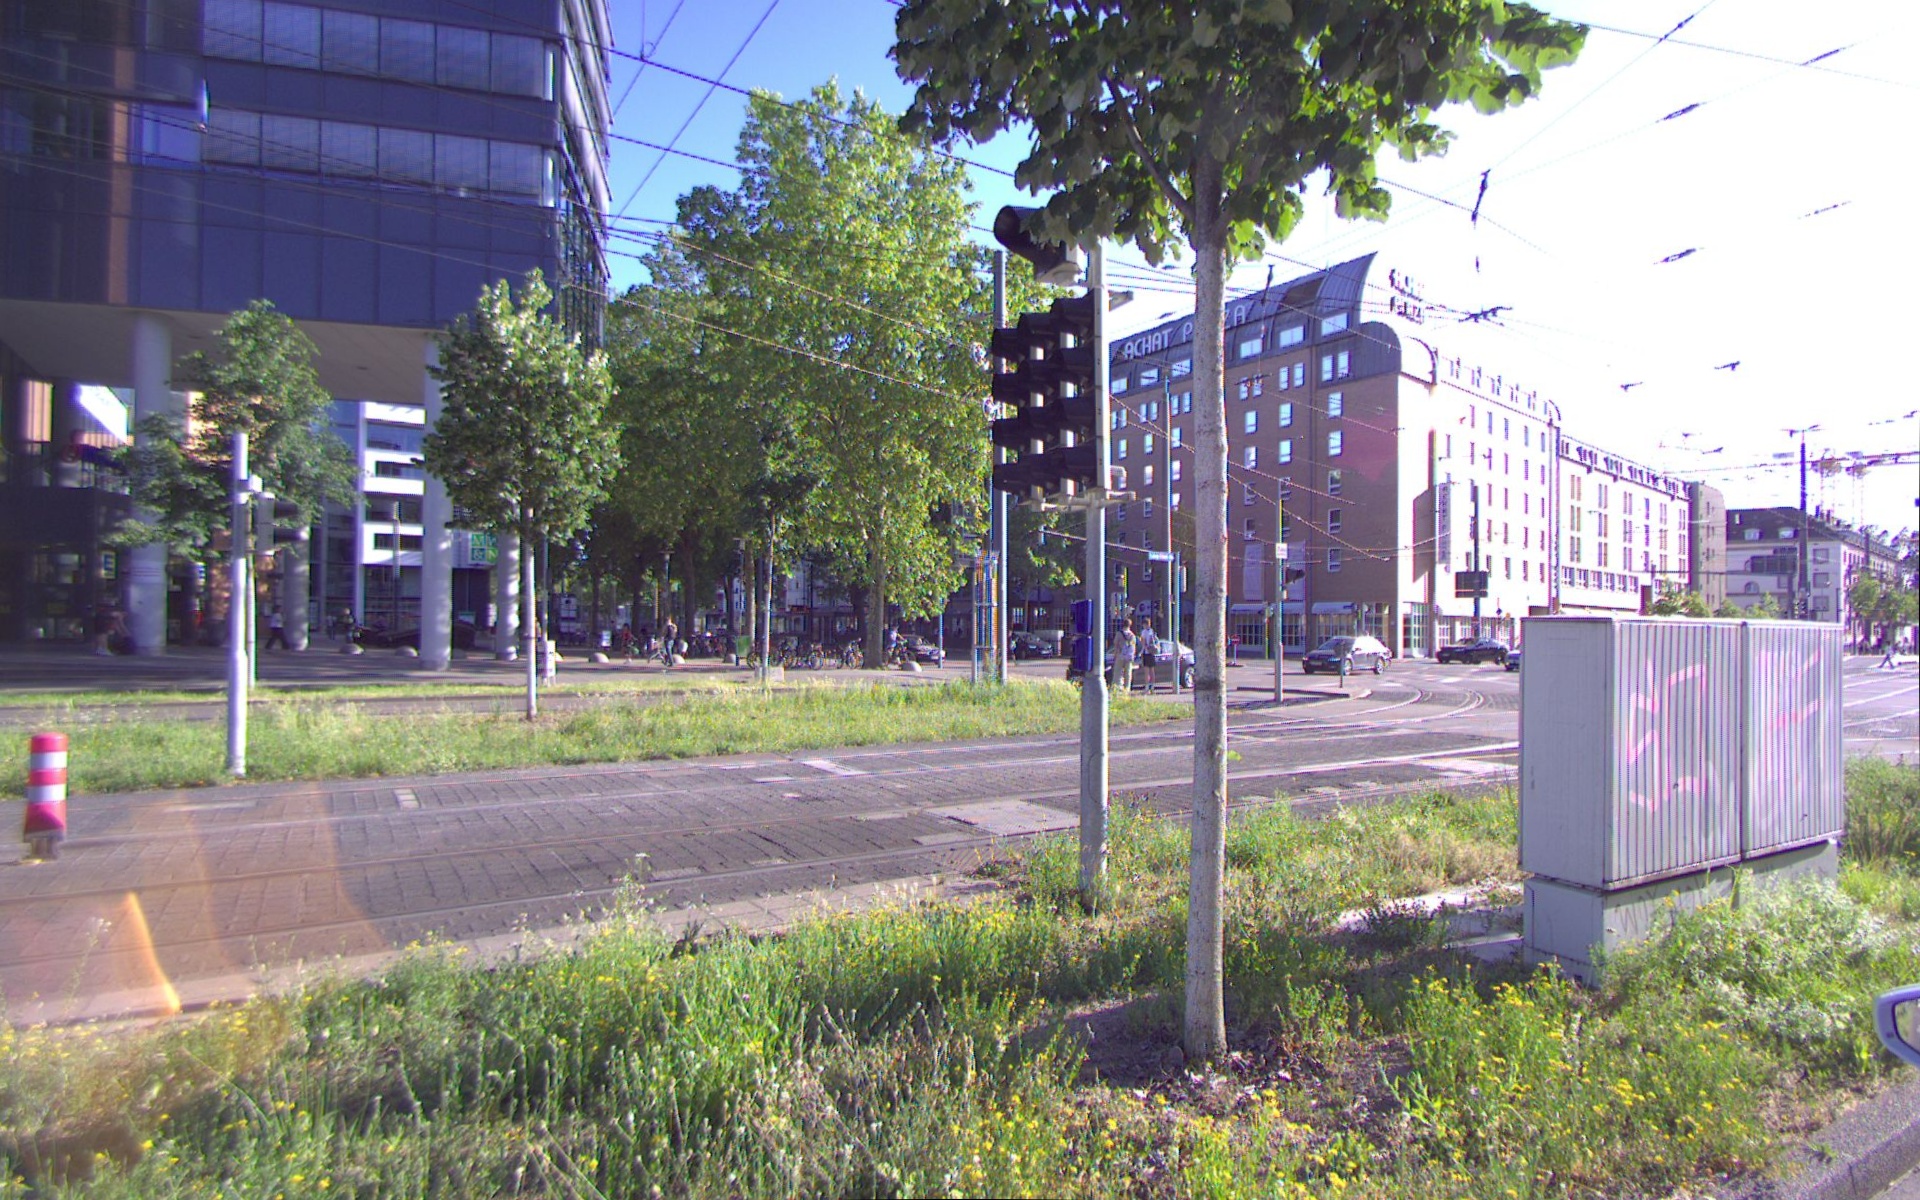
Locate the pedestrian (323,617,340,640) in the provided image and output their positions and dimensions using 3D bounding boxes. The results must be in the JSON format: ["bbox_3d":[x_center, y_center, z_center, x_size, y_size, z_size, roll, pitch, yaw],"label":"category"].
[{"bbox_3d":[-36.028,1.617,57.577,0.651,1.294,0.636,1,0,-13],"label":"pedestrian"}]

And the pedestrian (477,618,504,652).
[{"bbox_3d":[-24.406,1.834,52.185,1.091,1.730,0.789,1,0,-13],"label":"pedestrian"}]

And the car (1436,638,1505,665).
[{"bbox_3d":[31.235,3.158,61.437,3.947,1.570,1.749,1,-2,-26],"label":"car"}]

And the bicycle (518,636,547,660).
[{"bbox_3d":[-16.872,1.891,39.644,0.490,0.922,1.887,1,-1,-5],"label":"bicycle"}]

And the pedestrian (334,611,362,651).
[{"bbox_3d":[-27.155,1.362,44.568,0.794,1.730,0.789,1,0,-13],"label":"pedestrian"}]

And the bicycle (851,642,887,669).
[{"bbox_3d":[-3.468,2.105,38.055,0.536,0.964,1.753,2,-2,-36],"label":"bicycle"}]

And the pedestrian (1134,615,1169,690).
[{"bbox_3d":[4.788,1.308,25.108,0.656,1.841,0.559,1,-1,-36],"label":"pedestrian"}]

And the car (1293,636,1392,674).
[{"bbox_3d":[15.326,2.190,40.189,4.104,1.440,1.711,2,-4,-36],"label":"car"}]

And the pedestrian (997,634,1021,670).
[{"bbox_3d":[2.283,2.425,46.637,0.832,1.619,0.692,1,0,-33],"label":"pedestrian"}]

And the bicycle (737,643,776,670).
[{"bbox_3d":[-7.497,2.065,36.946,0.538,0.964,1.748,2,-2,-44],"label":"bicycle"}]

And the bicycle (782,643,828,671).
[{"bbox_3d":[-5.697,2.097,36.852,1.742,0.964,0.540,0,-1,34],"label":"bicycle"}]

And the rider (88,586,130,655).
[{"bbox_3d":[-23.096,0.565,27.283,0.704,1.826,0.715,1,-1,-29],"label":"rider"}]

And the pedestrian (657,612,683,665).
[{"bbox_3d":[-11.410,1.522,39.470,0.826,2.040,0.730,1,0,-25],"label":"pedestrian"}]

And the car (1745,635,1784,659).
[{"bbox_3d":[53.369,3.096,66.620,1.726,1.524,3.858,-1,-2,43],"label":"car"}]

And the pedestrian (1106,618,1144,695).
[{"bbox_3d":[4.043,1.376,24.580,0.656,1.854,0.627,1,-1,-36],"label":"pedestrian"}]

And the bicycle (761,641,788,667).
[{"bbox_3d":[-7.079,2.051,38.407,0.530,0.964,1.772,1,-1,7],"label":"bicycle"}]

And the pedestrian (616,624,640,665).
[{"bbox_3d":[-13.303,1.786,40.240,0.826,1.619,0.730,1,0,-25],"label":"pedestrian"}]

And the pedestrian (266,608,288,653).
[{"bbox_3d":[-23.232,1.028,34.177,0.566,1.500,0.450,1,0,-30],"label":"pedestrian"}]

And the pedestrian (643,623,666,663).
[{"bbox_3d":[-12.968,1.807,42.607,0.826,1.667,0.730,1,-1,-25],"label":"pedestrian"}]

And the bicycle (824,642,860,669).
[{"bbox_3d":[-4.455,2.078,37.879,0.536,0.964,1.753,2,-2,-36],"label":"bicycle"}]

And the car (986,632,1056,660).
[{"bbox_3d":[3.332,2.515,55.152,1.743,1.439,3.960,2,-2,-35],"label":"car"}]

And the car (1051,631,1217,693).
[{"bbox_3d":[4.990,1.703,28.544,4.692,1.617,1.980,2,-2,-36],"label":"car"}]

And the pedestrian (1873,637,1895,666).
[{"bbox_3d":[52.683,2.921,57.294,0.754,1.662,0.743,0,-1,30],"label":"pedestrian"}]

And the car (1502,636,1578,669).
[{"bbox_3d":[26.869,2.419,46.506,3.960,1.468,1.563,2,-2,-35],"label":"car"}]

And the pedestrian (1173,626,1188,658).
[{"bbox_3d":[14.086,2.669,64.305,0.669,2.040,0.663,1,-1,-29],"label":"pedestrian"}]

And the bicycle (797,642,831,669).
[{"bbox_3d":[-5.593,2.110,38.407,0.536,0.964,1.753,2,-2,-36],"label":"bicycle"}]

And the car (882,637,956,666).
[{"bbox_3d":[-2.061,2.494,49.391,1.977,1.283,3.968,1,-2,-30],"label":"car"}]

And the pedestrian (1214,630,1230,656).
[{"bbox_3d":[15.795,2.608,60.651,0.652,1.523,0.672,1,-1,-33],"label":"pedestrian"}]

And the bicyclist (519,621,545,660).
[{"bbox_3d":[-16.871,1.594,39.599,0.667,1.484,1.015,1,-1,-7],"label":"bicyclist"}]

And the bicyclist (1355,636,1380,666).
[{"bbox_3d":[19.477,2.425,48.029,0.942,1.393,0.752,2,-1,-37],"label":"bicyclist"}]

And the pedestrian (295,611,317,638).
[{"bbox_3d":[-36.749,1.362,56.433,0.647,1.500,1.053,1,0,-13],"label":"pedestrian"}]
